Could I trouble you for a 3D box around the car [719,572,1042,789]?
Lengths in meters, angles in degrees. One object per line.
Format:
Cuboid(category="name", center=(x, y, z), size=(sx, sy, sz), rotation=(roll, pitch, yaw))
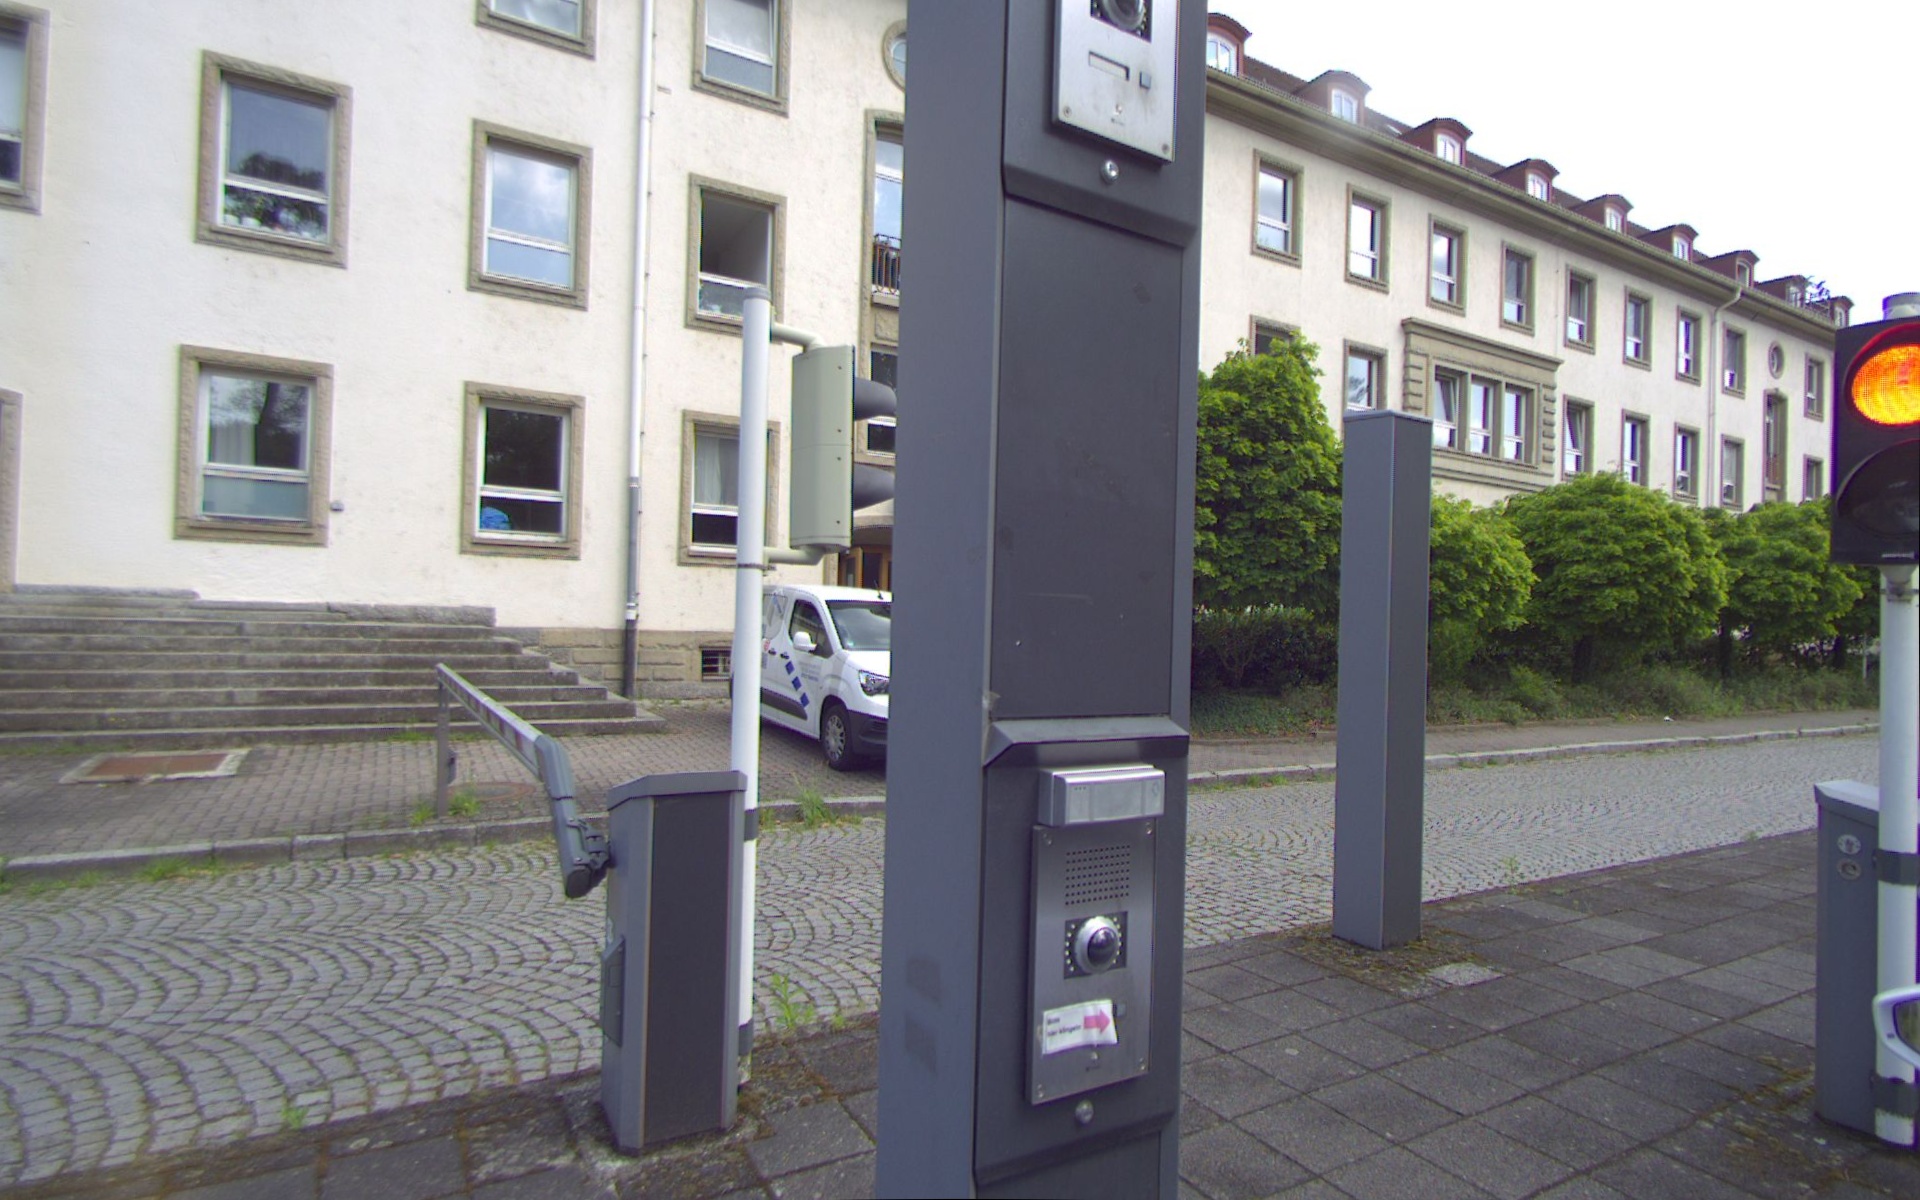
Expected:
Cuboid(category="car", center=(-1.120, 0.719, 11.392), size=(1.801, 1.830, 4.276), rotation=(3, 2, -32))
